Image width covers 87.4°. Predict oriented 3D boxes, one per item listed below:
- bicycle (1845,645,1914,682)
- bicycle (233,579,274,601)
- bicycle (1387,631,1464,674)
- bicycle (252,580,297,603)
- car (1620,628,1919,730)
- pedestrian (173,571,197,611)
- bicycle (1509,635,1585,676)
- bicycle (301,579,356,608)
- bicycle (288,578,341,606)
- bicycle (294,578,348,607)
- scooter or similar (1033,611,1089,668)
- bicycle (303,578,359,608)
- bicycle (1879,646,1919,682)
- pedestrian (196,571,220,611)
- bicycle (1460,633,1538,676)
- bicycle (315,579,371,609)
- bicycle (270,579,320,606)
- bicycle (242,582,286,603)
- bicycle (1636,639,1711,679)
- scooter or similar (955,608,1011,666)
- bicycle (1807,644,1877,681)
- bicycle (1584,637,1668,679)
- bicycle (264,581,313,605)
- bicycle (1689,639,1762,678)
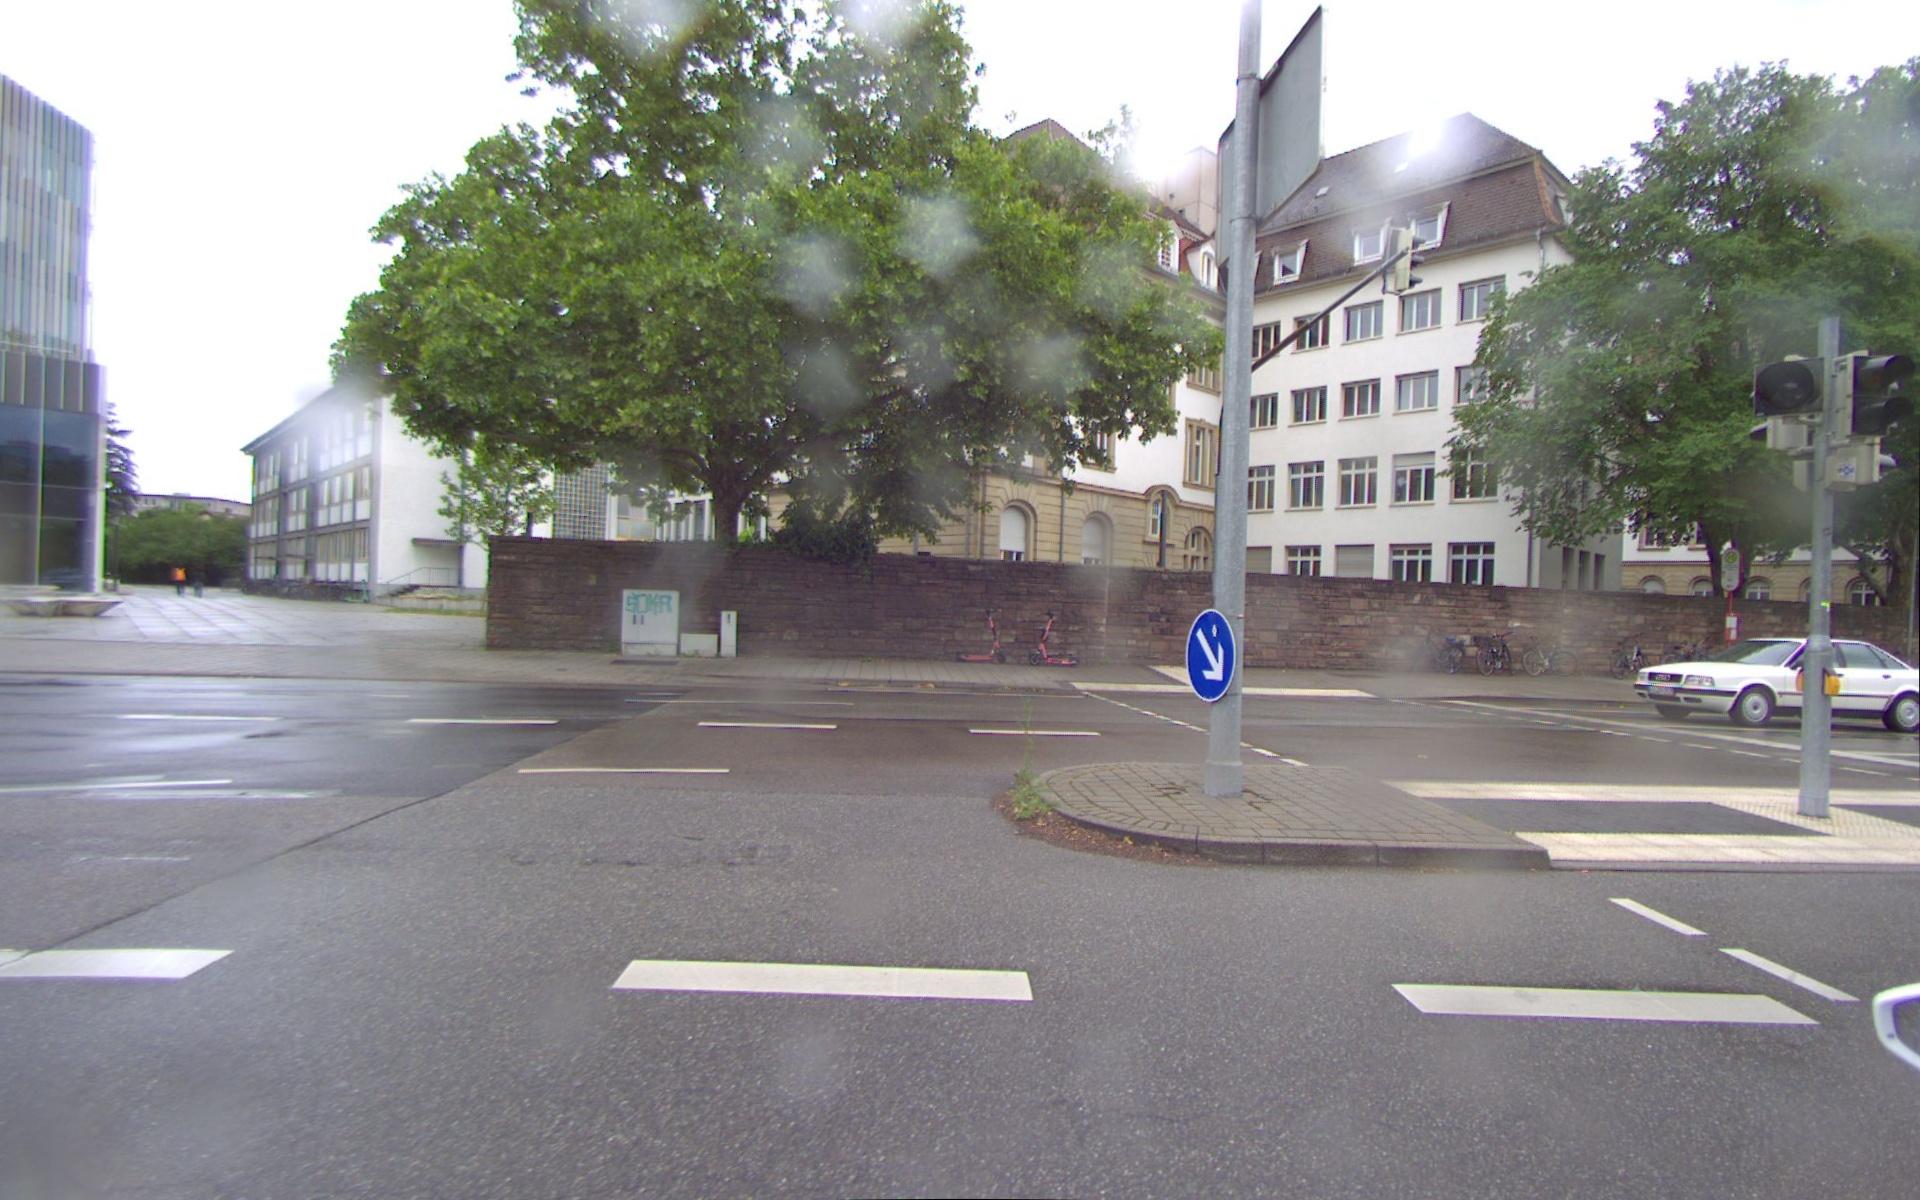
[{"bbox_3d":[26.900,1.858,29.398,1.674,0.996,0.731,2,0,-17],"label":"bicycle"},{"bbox_3d":[-48.362,-0.699,68.804,2.244,1.420,0.758,2,0,-38],"label":"bicycle"},{"bbox_3d":[11.613,1.308,25.066,1.674,0.996,0.731,2,0,-17],"label":"bicycle"},{"bbox_3d":[-42.070,-0.492,61.633,2.244,1.329,0.758,2,0,-38],"label":"bicycle"},{"bbox_3d":[13.252,1.246,16.095,4.439,1.434,1.600,2,-1,-5],"label":"car"},{"bbox_3d":[-40.197,-0.457,52.096,0.896,2.040,0.837,2,0,-34],"label":"pedestrian"},{"bbox_3d":[15.171,1.432,25.952,1.674,0.996,0.731,2,0,-17],"label":"bicycle"},{"bbox_3d":[-31.501,-0.332,50.141,2.244,1.384,0.758,2,0,-38],"label":"bicycle"},{"bbox_3d":[-33.714,-0.390,52.460,2.244,1.384,0.758,2,0,-38],"label":"bicycle"},{"bbox_3d":[-32.404,-0.356,50.980,2.244,1.384,0.758,2,0,-38],"label":"bicycle"},{"bbox_3d":[2.269,0.890,22.569,1.122,1.214,0.391,2,7,-13],"label":"scooter or similar"},{"bbox_3d":[-30.934,-0.318,49.444,2.244,1.384,0.758,2,0,-38],"label":"bicycle"},{"bbox_3d":[28.193,1.903,29.711,1.674,0.996,0.731,2,0,-17],"label":"bicycle"},{"bbox_3d":[-39.356,-0.453,52.569,0.896,2.040,0.837,2,0,-34],"label":"pedestrian"},{"bbox_3d":[13.583,1.375,25.315,1.674,0.996,0.731,2,0,-17],"label":"bicycle"},{"bbox_3d":[-29.897,-0.289,48.677,2.244,1.384,0.758,2,0,-38],"label":"bicycle"},{"bbox_3d":[-37.237,-0.423,56.248,2.244,1.438,0.758,2,0,-38],"label":"bicycle"},{"bbox_3d":[-43.937,-0.469,63.453,2.244,1.183,0.758,2,0,-38],"label":"bicycle"},{"bbox_3d":[19.036,1.565,26.807,1.674,0.996,0.731,2,0,-17],"label":"bicycle"},{"bbox_3d":[0.503,0.814,22.243,1.122,1.214,0.391,2,7,-11],"label":"scooter or similar"},{"bbox_3d":[25.291,1.785,28.814,1.674,0.996,0.731,2,0,-17],"label":"bicycle"},{"bbox_3d":[17.305,1.503,26.110,1.832,0.996,0.731,2,0,-13],"label":"bicycle"},{"bbox_3d":[-38.331,-0.379,57.366,2.244,1.292,0.758,2,0,-38],"label":"bicycle"},{"bbox_3d":[21.029,1.595,27.587,1.674,0.996,0.731,2,0,-17],"label":"bicycle"}]
